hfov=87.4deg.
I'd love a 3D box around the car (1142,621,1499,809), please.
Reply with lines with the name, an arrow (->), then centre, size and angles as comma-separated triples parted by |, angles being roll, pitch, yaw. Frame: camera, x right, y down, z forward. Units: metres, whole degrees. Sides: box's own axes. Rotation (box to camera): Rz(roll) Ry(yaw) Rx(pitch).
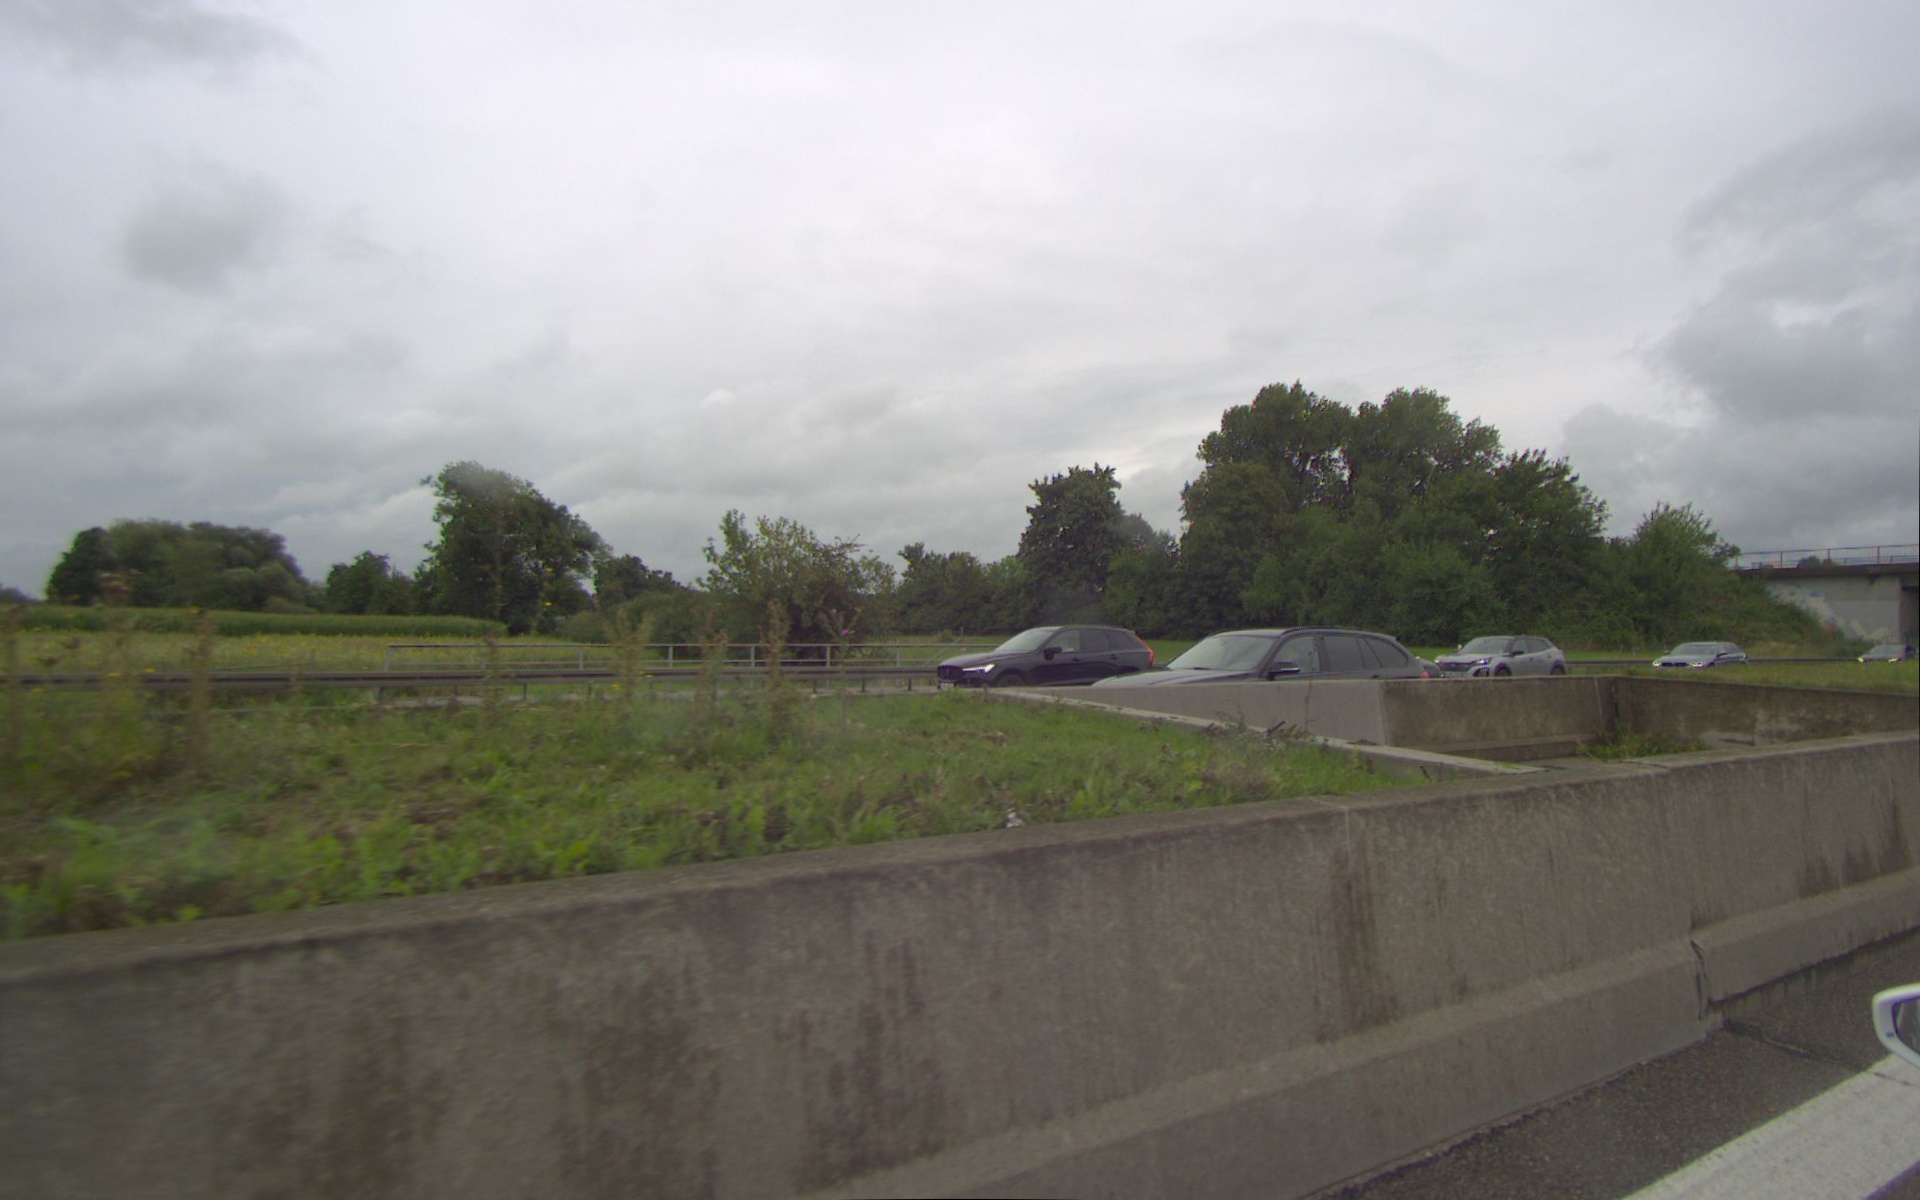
car -> 4.216, 1.201, 11.654 | 3.953, 1.839, 1.806 | 2, -2, -30

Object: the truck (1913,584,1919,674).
truck -> 46.706, 1.445, 45.982 | 6.182, 4.104, 2.744 | 2, 0, -30

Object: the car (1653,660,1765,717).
car -> 28.918, 3.364, 38.724 | 5.206, 1.995, 1.809 | 2, -2, -34

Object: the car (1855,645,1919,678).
car -> 47.401, 3.103, 51.020 | 4.365, 1.574, 1.703 | 2, -2, -32

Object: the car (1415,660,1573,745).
car -> 14.327, 2.678, 26.930 | 3.953, 2.040, 1.984 | 2, -2, -30

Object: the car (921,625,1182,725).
car -> 1.880, 1.432, 20.136 | 4.902, 1.733, 2.084 | 2, 0, -29
